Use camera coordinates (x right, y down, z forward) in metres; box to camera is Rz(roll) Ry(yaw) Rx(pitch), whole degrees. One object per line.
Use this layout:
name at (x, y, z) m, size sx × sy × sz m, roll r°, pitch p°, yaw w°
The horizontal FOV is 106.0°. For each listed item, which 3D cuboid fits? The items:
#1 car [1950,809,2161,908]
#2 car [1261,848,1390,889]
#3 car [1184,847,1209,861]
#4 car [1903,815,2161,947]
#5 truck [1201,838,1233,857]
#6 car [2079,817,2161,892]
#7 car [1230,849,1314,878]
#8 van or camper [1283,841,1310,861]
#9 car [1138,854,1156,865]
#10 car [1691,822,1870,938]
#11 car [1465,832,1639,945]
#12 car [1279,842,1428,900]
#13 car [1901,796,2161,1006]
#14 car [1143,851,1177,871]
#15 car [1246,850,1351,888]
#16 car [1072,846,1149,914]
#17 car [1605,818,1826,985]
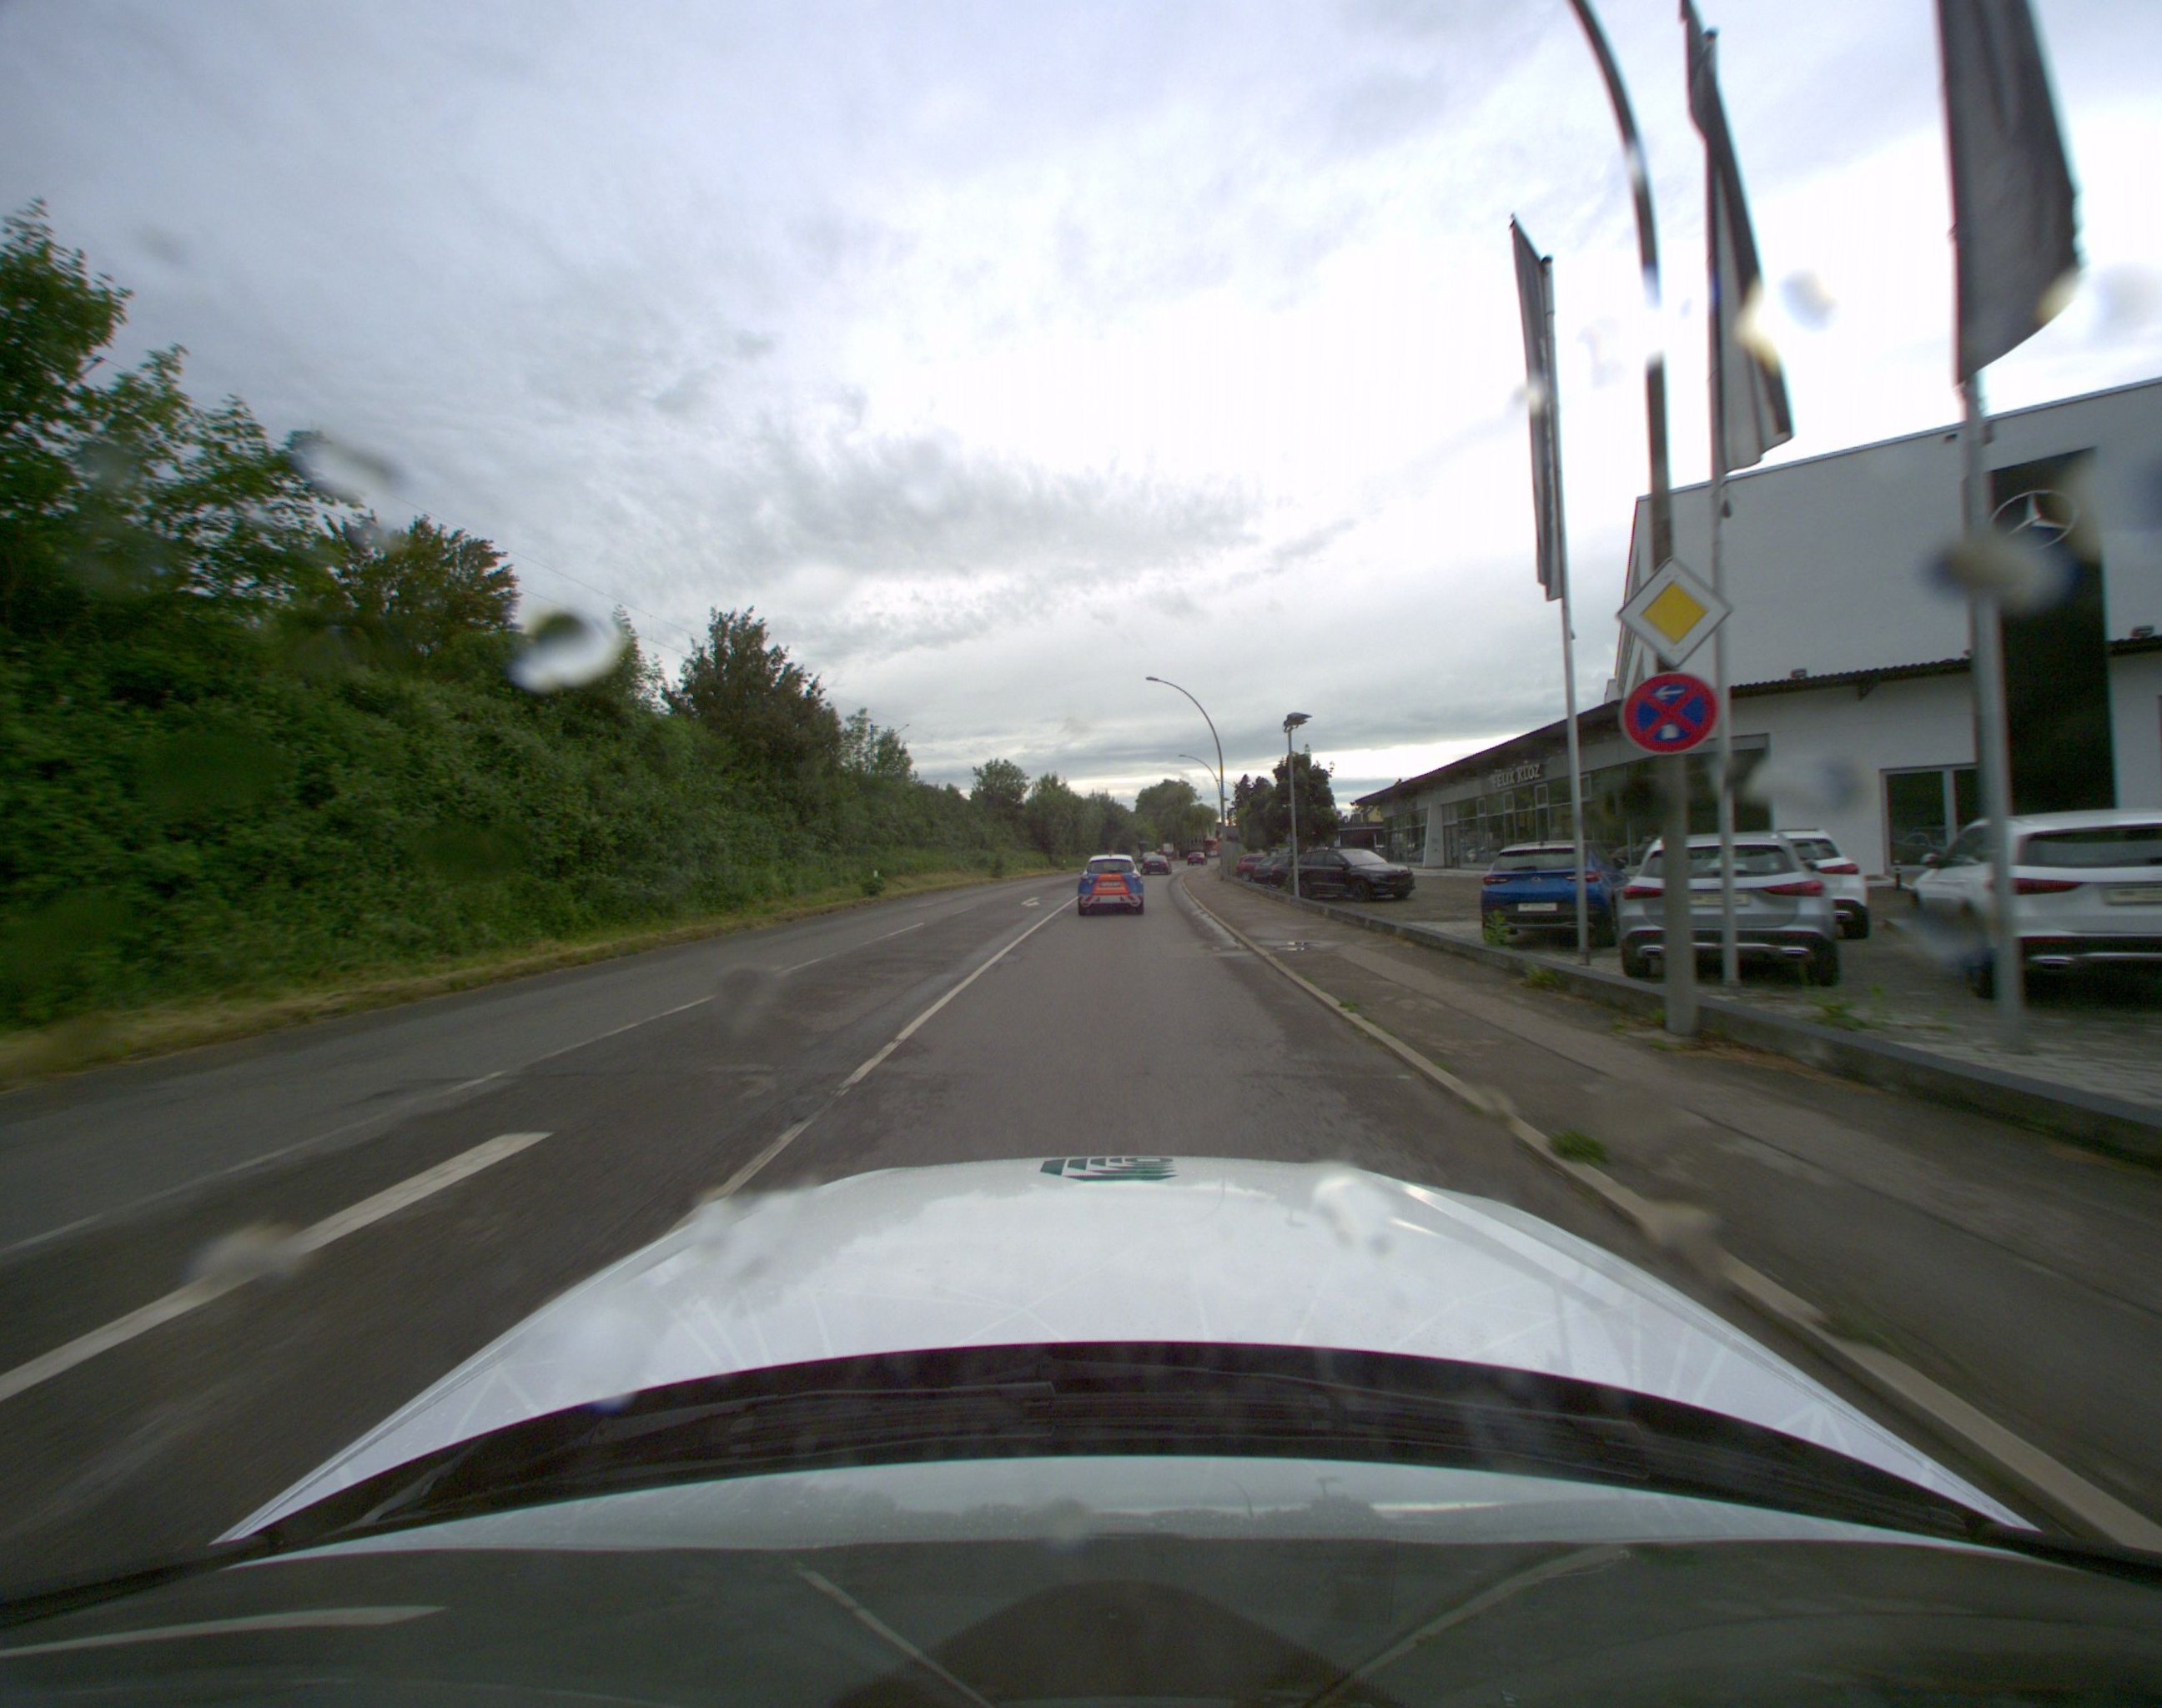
car at (16.673, 0.054, 13.061) m, size 3.517 × 1.478 × 1.792 m, roll -3°, pitch 0°, yaw 41°
car at (9.500, 0.564, 31.836) m, size 4.385 × 1.479 × 1.947 m, roll -1°, pitch 0°, yaw 38°
car at (13.009, 0.061, 91.510) m, size 1.977 × 1.420 × 4.018 m, roll 1°, pitch -1°, yaw 19°
car at (13.301, 0.298, 11.487) m, size 1.879 × 1.545 × 4.026 m, roll -1°, pitch 0°, yaw 38°
truck at (26.364, -1.169, 157.325) m, size 2.671 × 3.412 × 9.128 m, roll 0°, pitch -1°, yaw 32°
car at (23.216, -0.050, 15.852) m, size 4.354 × 1.442 × 2.013 m, roll -2°, pitch 1°, yaw 33°
car at (11.770, 0.584, 50.292) m, size 4.637 × 1.662 × 2.012 m, roll 0°, pitch -1°, yaw 35°
van or camper at (29.650, -0.488, 111.765) m, size 2.022 × 2.593 × 6.630 m, roll -2°, pitch 0°, yaw 28°
car at (8.887, 0.748, 109.962) m, size 1.981 × 1.474 × 4.712 m, roll 1°, pitch -1°, yaw 9°
car at (11.302, 0.357, 13.446) m, size 1.709 × 1.599 × 4.206 m, roll -3°, pitch -1°, yaw 34°
car at (8.207, 0.500, 13.992) m, size 1.820 × 1.632 × 4.394 m, roll -4°, pitch -2°, yaw 39°
car at (8.470, 0.507, 25.775) m, size 1.845 × 1.608 × 4.513 m, roll -2°, pitch 1°, yaw -24°
car at (9.197, 0.332, 7.702) m, size 1.643 × 1.599 × 3.581 m, roll -3°, pitch -1°, yaw 40°
car at (5.675, 0.505, 58.269) m, size 1.708 × 1.376 × 3.949 m, roll 1°, pitch -1°, yaw 15°
car at (9.431, 0.621, 35.417) m, size 3.949 × 1.556 × 1.910 m, roll 0°, pitch -1°, yaw 42°
car at (0.818, 0.649, 22.510) m, size 1.881 × 1.632 × 4.002 m, roll -2°, pitch 0°, yaw 2°
car at (7.652, 0.448, 9.801) m, size 1.709 × 1.599 × 3.839 m, roll -3°, pitch -1°, yaw 40°
